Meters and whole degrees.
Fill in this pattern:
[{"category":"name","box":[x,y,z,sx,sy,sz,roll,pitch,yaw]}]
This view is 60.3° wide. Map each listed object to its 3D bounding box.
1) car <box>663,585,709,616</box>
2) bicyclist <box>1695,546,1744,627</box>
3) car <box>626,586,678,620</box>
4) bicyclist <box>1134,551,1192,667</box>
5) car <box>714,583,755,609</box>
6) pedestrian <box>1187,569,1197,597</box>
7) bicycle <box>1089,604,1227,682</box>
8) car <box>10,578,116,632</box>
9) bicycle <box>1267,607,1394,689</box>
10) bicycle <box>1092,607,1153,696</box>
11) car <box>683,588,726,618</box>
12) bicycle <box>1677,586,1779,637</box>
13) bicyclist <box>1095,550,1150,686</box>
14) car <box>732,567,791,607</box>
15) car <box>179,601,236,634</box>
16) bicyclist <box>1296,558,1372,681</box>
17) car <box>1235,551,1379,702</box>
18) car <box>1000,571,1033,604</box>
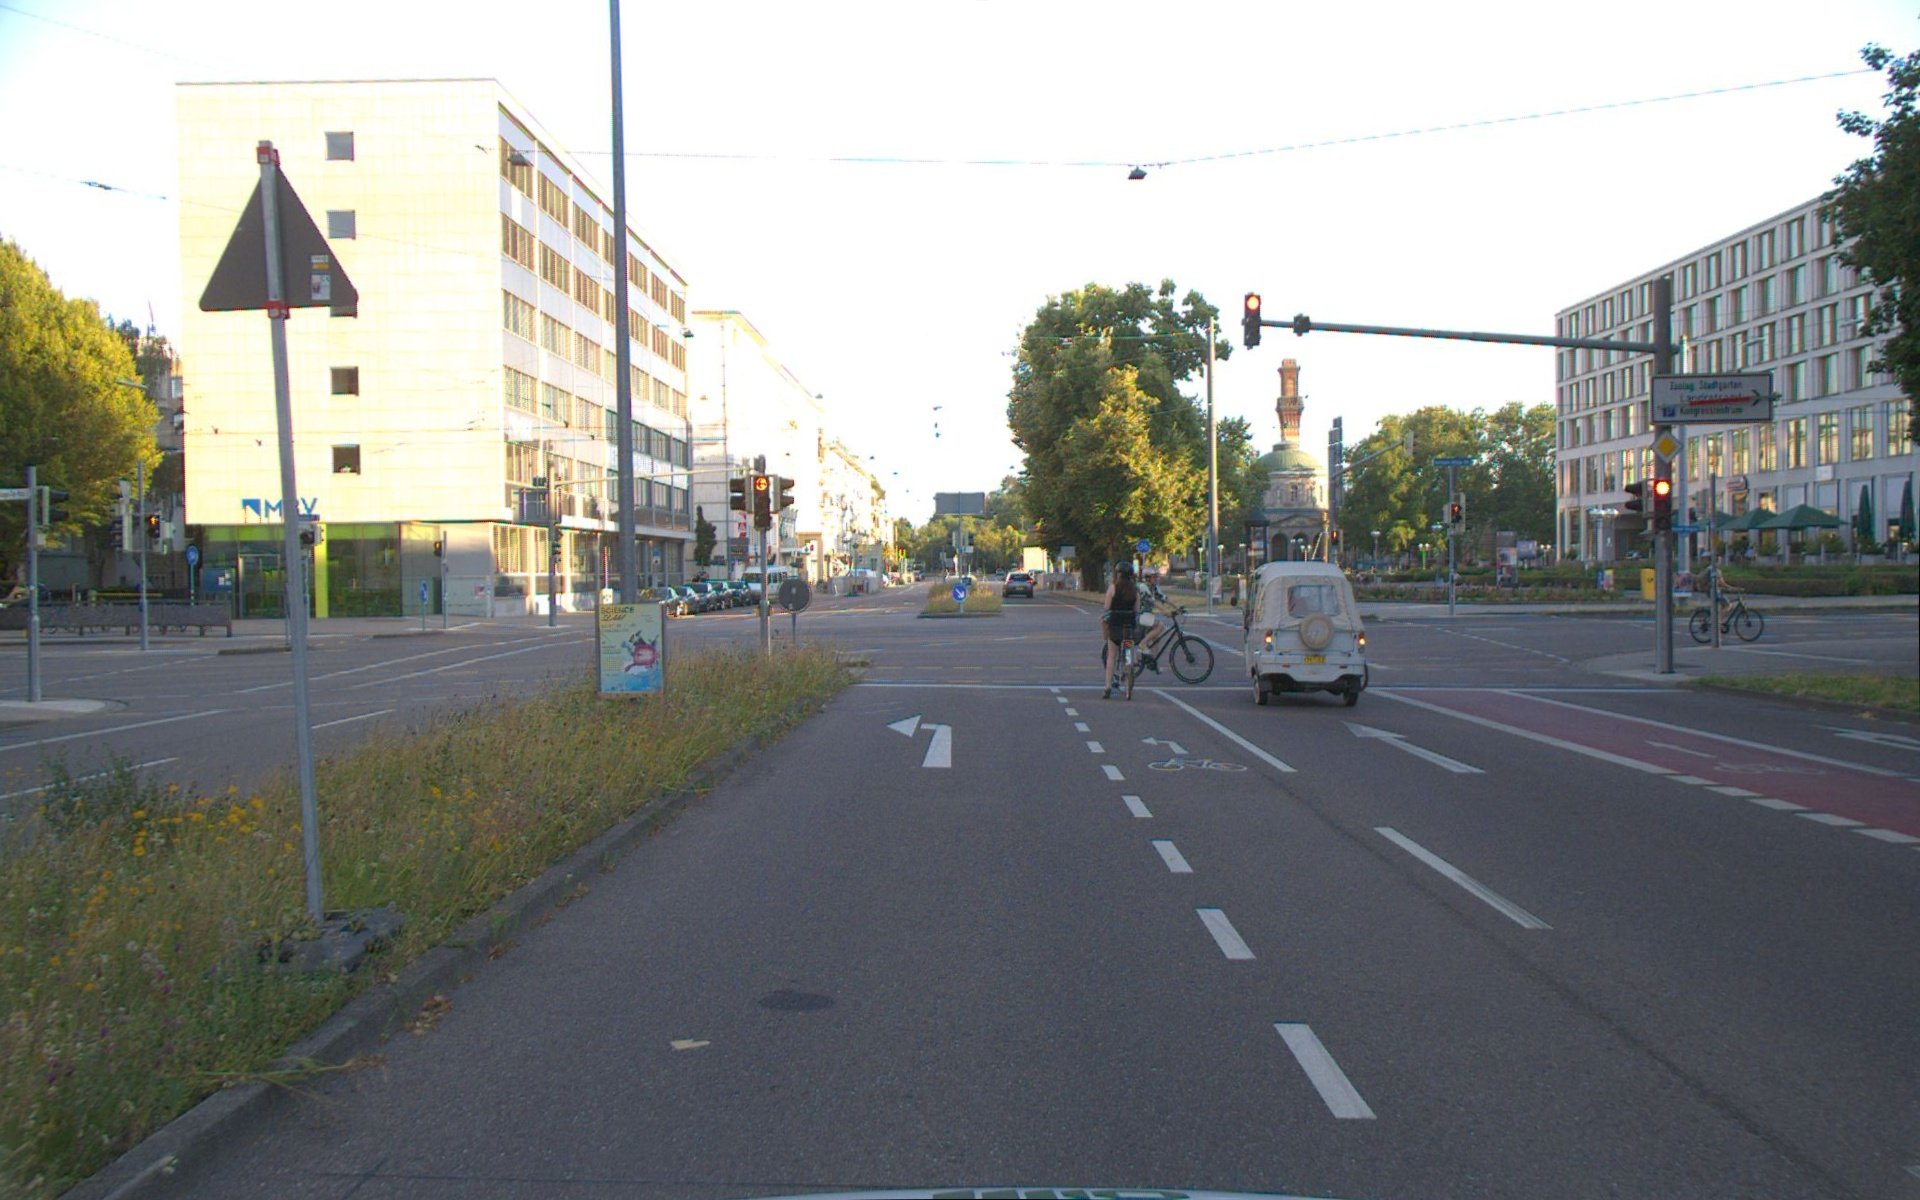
[{"category":"car","box":[-14.521,0.062,87.755,1.759,1.501,3.999,-1,-2,0]},{"category":"bicyclist","box":[16.414,-0.290,35.765,0.730,1.722,0.715,-1,0,3]},{"category":"car","box":[-15.054,0.162,80.941,1.759,1.501,3.999,-1,-2,0]},{"category":"bicyclist","box":[3.078,0.131,25.030,0.730,1.722,0.716,-1,0,16]},{"category":"car","box":[-14.159,-0.234,104.073,1.758,1.501,4.001,-1,-2,4]},{"category":"pedestrian","box":[14.443,-1.065,102.991,0.498,1.697,0.531,0,0,-1]},{"category":"bicycle","box":[3.005,0.635,25.070,1.972,1.087,0.731,2,1,17]},{"category":"car","box":[-35.481,0.157,65.533,1.953,2.049,4.000,-1,1,0]},{"category":"bicycle","box":[5.337,0.676,23.934,0.721,1.087,1.884,0,1,-29]},{"category":"bicycle","box":[2.128,0.651,21.829,0.624,1.087,2.069,0,1,0]},{"category":"car","box":[-14.237,0.194,92.253,1.759,1.501,3.999,-1,-2,0]},{"category":"bicycle","box":[16.593,0.253,35.750,1.857,1.087,0.731,0,0,3]},{"category":"bicyclist","box":[2.110,0.226,21.510,0.615,1.722,0.748,-1,0,0]},{"category":"car","box":[-13.234,-0.849,110.660,2.130,2.427,5.994,-2,-2,12]},{"category":"car","box":[-26.306,0.592,57.878,0.836,1.092,2.522,-1,1,0]},{"category":"bicyclist","box":[5.386,0.269,23.843,0.754,1.722,0.741,-1,0,-29]},{"category":"car","box":[4.408,0.285,21.292,1.429,1.811,2.566,0,2,3]},{"category":"car","box":[3.636,-0.844,106.555,1.953,2.049,4.000,-1,1,0]}]
